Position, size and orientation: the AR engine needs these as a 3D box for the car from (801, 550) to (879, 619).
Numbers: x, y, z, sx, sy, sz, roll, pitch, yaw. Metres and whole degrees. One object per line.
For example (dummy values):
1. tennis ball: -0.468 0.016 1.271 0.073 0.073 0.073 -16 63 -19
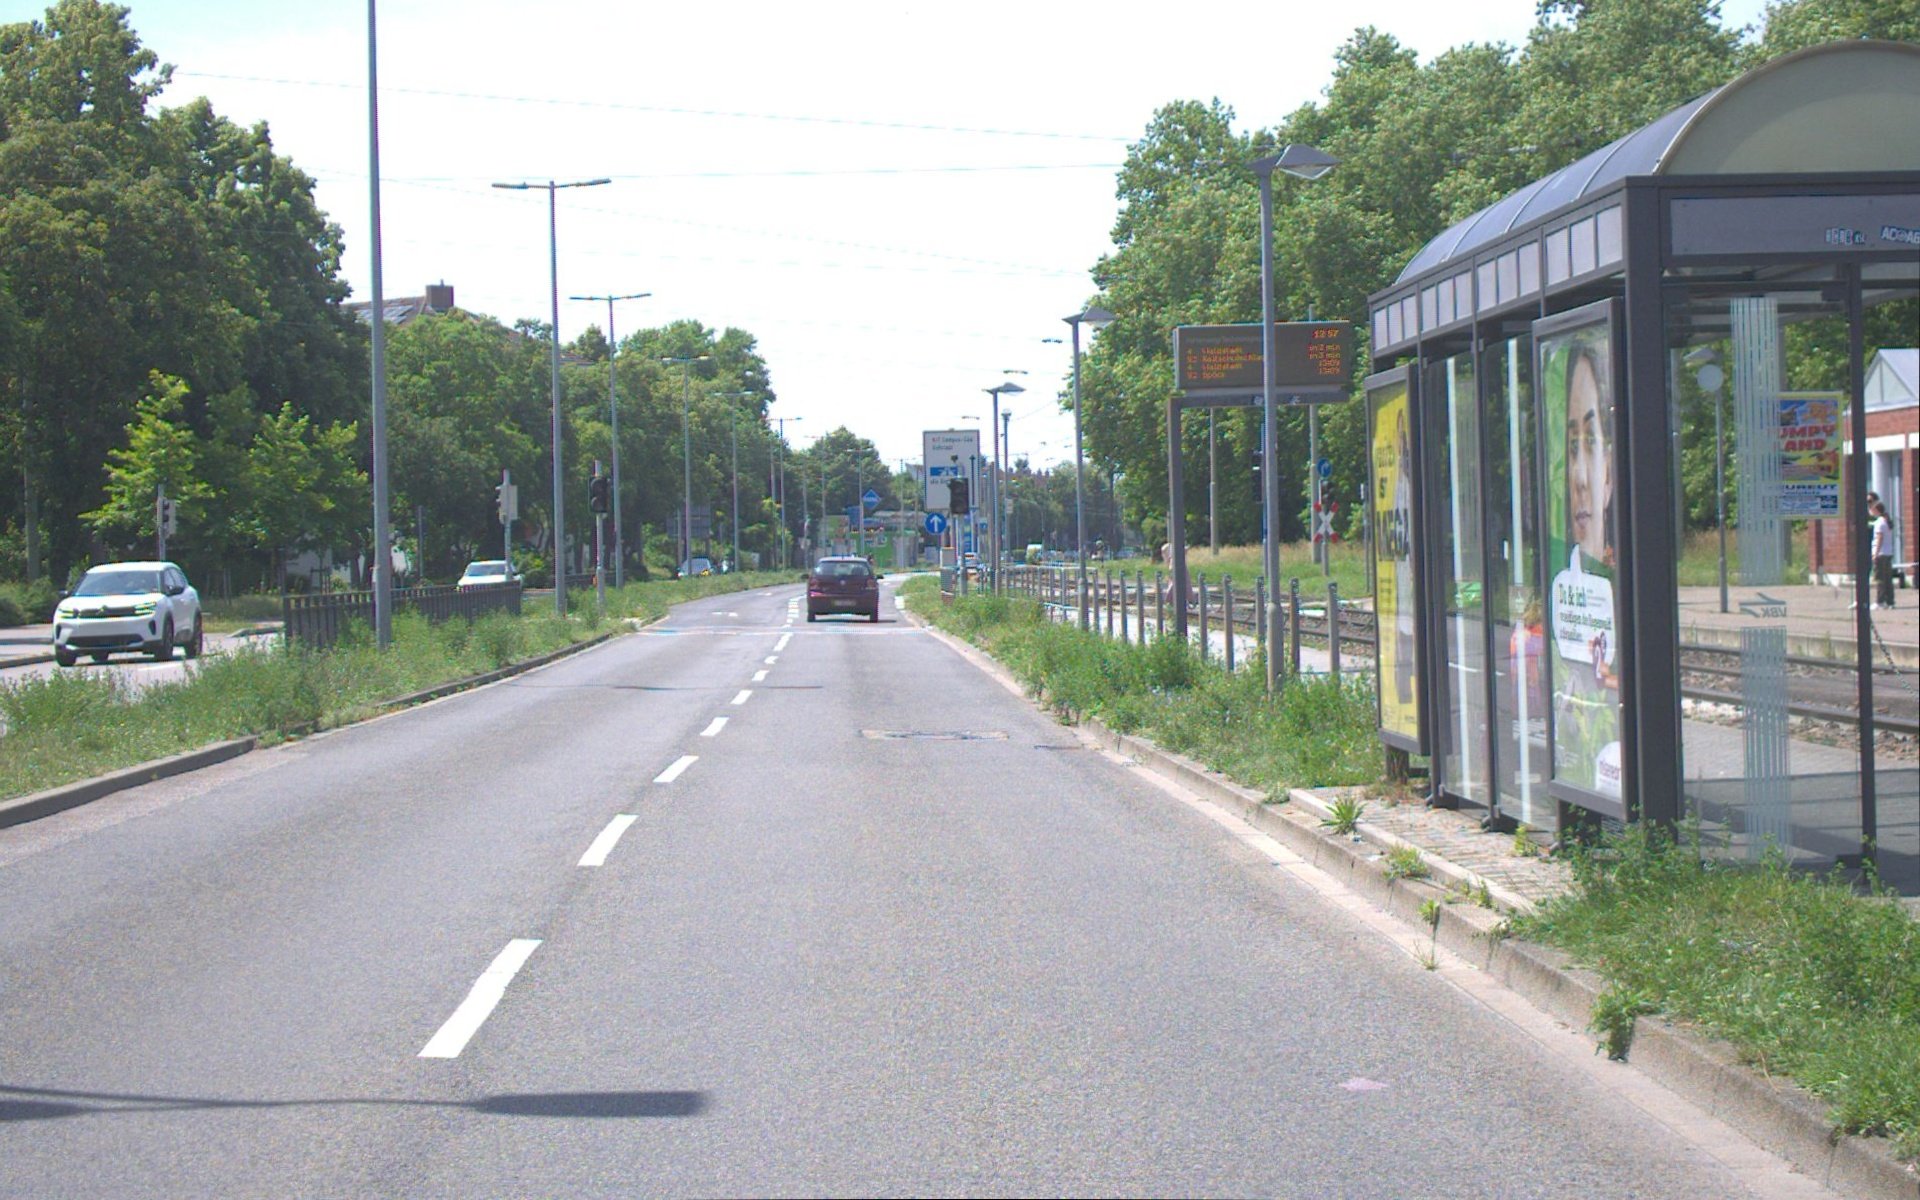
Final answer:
1. car: -2.714 -0.372 78.471 1.703 1.472 3.717 -2 1 -1

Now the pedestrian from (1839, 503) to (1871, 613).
1. pedestrian: 13.414 -0.632 51.518 0.360 1.641 0.445 0 0 1

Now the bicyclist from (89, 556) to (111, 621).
1. bicyclist: -18.504 -0.241 73.948 0.357 1.387 0.440 0 1 1

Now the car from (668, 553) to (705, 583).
1. car: -14.810 -1.753 186.225 1.756 1.538 4.161 -2 1 -1

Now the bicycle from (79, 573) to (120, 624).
1. bicycle: -18.512 -0.030 73.993 0.554 1.091 1.379 0 0 -1

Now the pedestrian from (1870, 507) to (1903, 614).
1. pedestrian: 13.747 -0.583 51.010 0.360 1.591 0.483 0 0 1

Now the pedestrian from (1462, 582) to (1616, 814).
1. pedestrian: 2.679 0.445 15.937 0.575 1.036 0.579 -2 1 -2

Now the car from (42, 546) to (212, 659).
1. car: -13.929 0.041 57.726 1.859 1.752 4.480 -2 0 -2

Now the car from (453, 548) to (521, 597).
1. car: -15.928 -0.941 115.933 1.821 1.567 4.347 -2 1 -2

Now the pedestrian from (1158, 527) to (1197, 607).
1. pedestrian: 4.795 -0.714 75.772 0.634 1.753 0.817 0 0 -15
